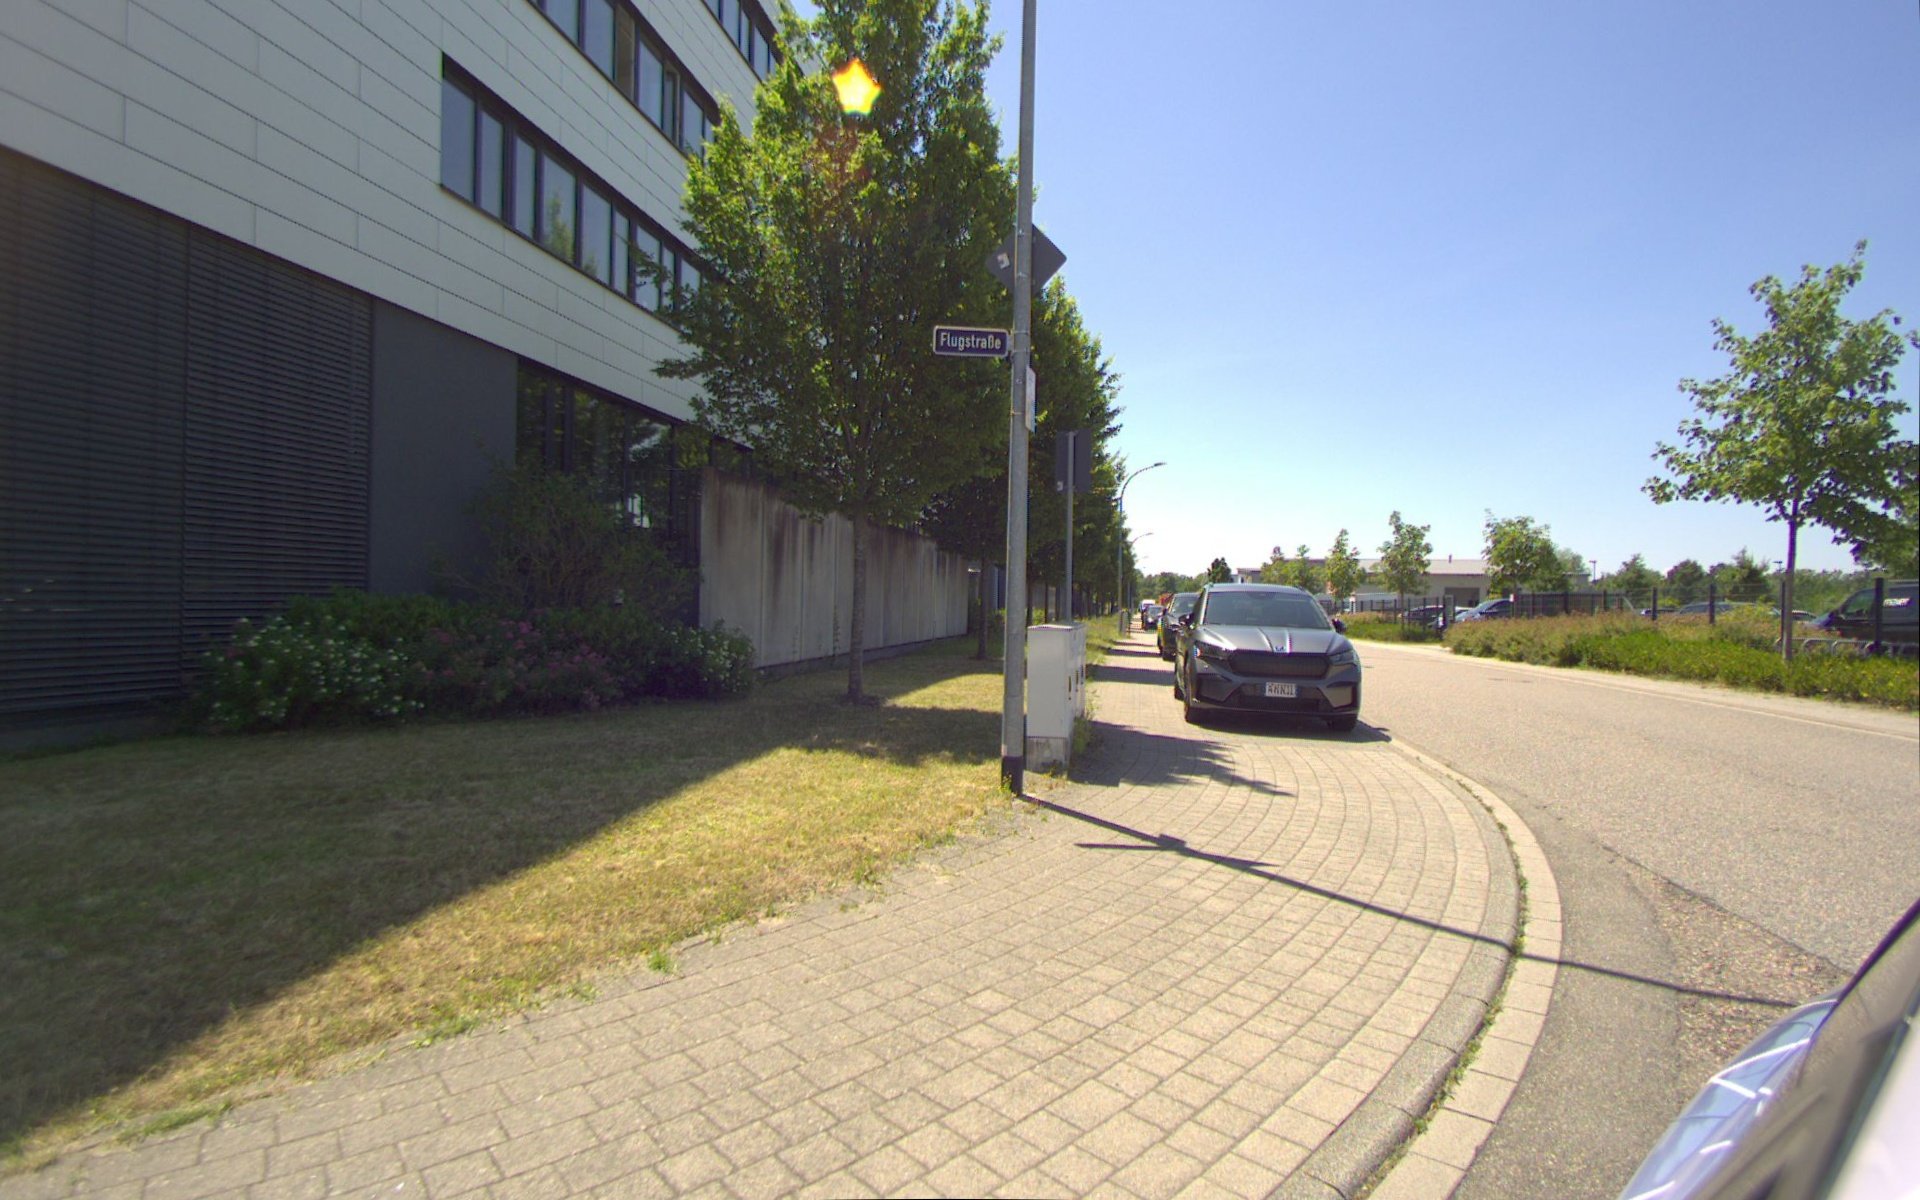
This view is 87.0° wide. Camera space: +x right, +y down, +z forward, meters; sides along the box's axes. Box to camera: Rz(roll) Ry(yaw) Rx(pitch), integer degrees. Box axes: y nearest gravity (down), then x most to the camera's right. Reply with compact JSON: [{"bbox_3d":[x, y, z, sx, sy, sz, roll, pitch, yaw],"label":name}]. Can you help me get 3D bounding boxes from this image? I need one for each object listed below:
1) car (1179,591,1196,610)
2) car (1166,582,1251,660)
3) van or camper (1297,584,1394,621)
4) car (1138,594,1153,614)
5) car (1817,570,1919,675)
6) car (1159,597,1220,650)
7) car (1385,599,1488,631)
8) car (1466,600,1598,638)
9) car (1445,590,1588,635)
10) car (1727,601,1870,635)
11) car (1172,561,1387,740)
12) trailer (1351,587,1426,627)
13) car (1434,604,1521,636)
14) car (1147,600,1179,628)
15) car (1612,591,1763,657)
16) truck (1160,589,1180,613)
[{"bbox_3d":[40.060,0.143,178.383,2.561,3.272,6.201,1,0,11],"label":"car"},{"bbox_3d":[6.068,0.485,25.104,1.736,1.684,4.348,2,0,11],"label":"car"},{"bbox_3d":[30.000,0.213,78.987,6.692,2.718,2.566,1,0,12],"label":"van or camper"},{"bbox_3d":[27.444,0.584,149.649,2.028,2.732,4.821,1,0,10],"label":"car"},{"bbox_3d":[20.452,0.435,21.024,1.976,2.125,4.676,-1,0,12],"label":"car"},{"bbox_3d":[7.282,0.705,32.446,1.695,1.499,4.017,3,0,11],"label":"car"},{"bbox_3d":[25.594,0.787,54.527,4.674,1.650,1.993,0,-1,12],"label":"car"},{"bbox_3d":[23.261,0.754,41.321,4.250,1.465,1.958,0,0,11],"label":"car"},{"bbox_3d":[23.929,0.537,43.714,4.994,1.874,1.958,0,0,11],"label":"car"},{"bbox_3d":[34.114,0.715,41.275,4.054,1.368,1.875,0,0,11],"label":"car"},{"bbox_3d":[3.670,0.506,12.429,1.780,1.683,4.595,3,0,9],"label":"car"},{"bbox_3d":[26.720,0.433,63.168,3.933,2.390,1.722,-1,-1,8],"label":"trailer"},{"bbox_3d":[25.147,0.969,49.301,3.327,1.517,1.899,0,0,11],"label":"car"},{"bbox_3d":[11.841,0.801,59.195,1.670,1.495,4.256,2,0,9],"label":"car"},{"bbox_3d":[20.527,0.624,28.777,1.969,1.745,4.076,0,0,12],"label":"car"},{"bbox_3d":[33.646,0.149,162.500,2.565,3.590,10.471,2,0,9],"label":"truck"}]
